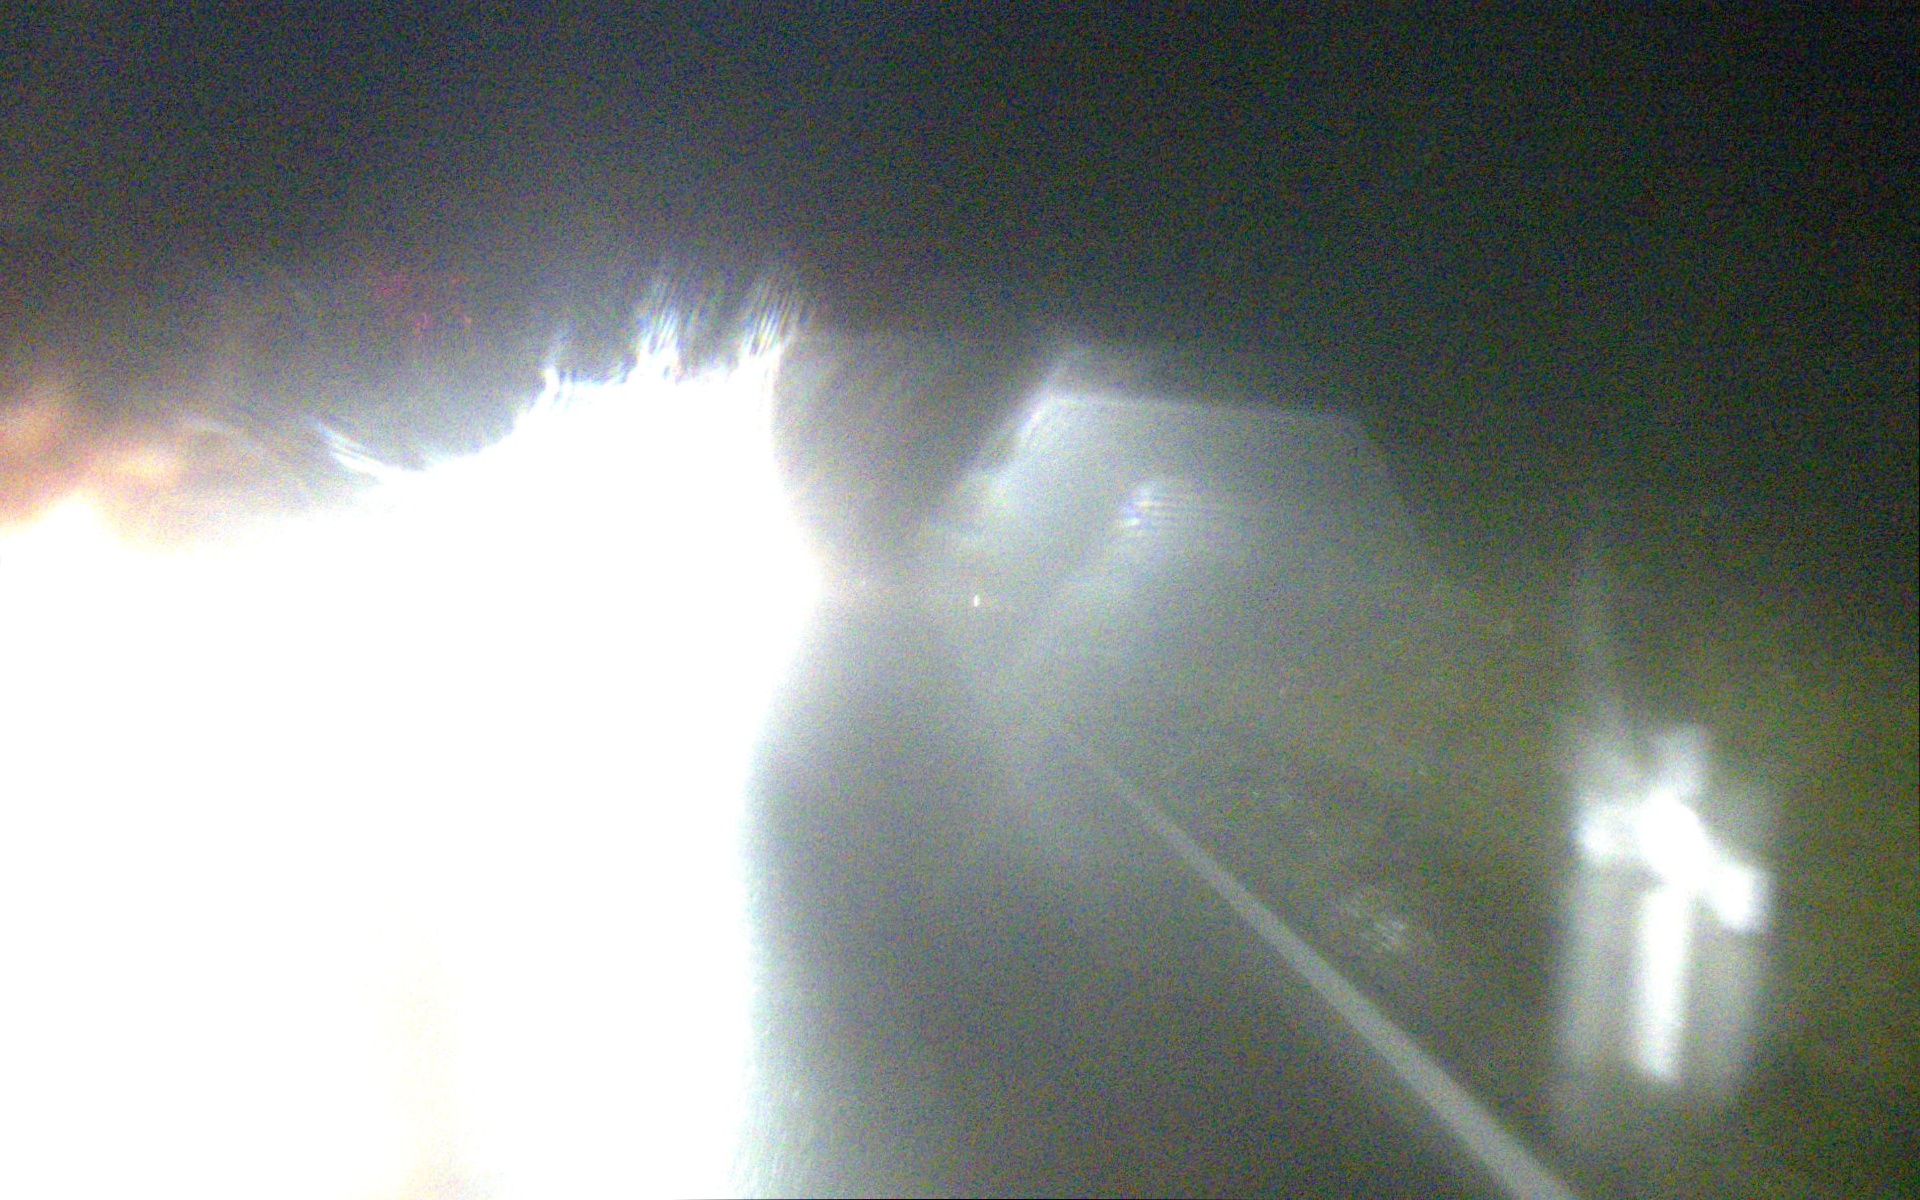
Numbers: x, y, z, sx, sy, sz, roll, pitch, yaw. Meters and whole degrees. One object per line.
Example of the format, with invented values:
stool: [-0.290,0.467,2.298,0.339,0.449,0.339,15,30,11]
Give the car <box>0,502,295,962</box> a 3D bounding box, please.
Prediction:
car: [-3.850,0.423,14.163,1.483,1.610,3.561,3,1,0]

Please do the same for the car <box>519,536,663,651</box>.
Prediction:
car: [-5.723,-0.137,53.712,1.926,1.698,4.001,1,1,-2]
